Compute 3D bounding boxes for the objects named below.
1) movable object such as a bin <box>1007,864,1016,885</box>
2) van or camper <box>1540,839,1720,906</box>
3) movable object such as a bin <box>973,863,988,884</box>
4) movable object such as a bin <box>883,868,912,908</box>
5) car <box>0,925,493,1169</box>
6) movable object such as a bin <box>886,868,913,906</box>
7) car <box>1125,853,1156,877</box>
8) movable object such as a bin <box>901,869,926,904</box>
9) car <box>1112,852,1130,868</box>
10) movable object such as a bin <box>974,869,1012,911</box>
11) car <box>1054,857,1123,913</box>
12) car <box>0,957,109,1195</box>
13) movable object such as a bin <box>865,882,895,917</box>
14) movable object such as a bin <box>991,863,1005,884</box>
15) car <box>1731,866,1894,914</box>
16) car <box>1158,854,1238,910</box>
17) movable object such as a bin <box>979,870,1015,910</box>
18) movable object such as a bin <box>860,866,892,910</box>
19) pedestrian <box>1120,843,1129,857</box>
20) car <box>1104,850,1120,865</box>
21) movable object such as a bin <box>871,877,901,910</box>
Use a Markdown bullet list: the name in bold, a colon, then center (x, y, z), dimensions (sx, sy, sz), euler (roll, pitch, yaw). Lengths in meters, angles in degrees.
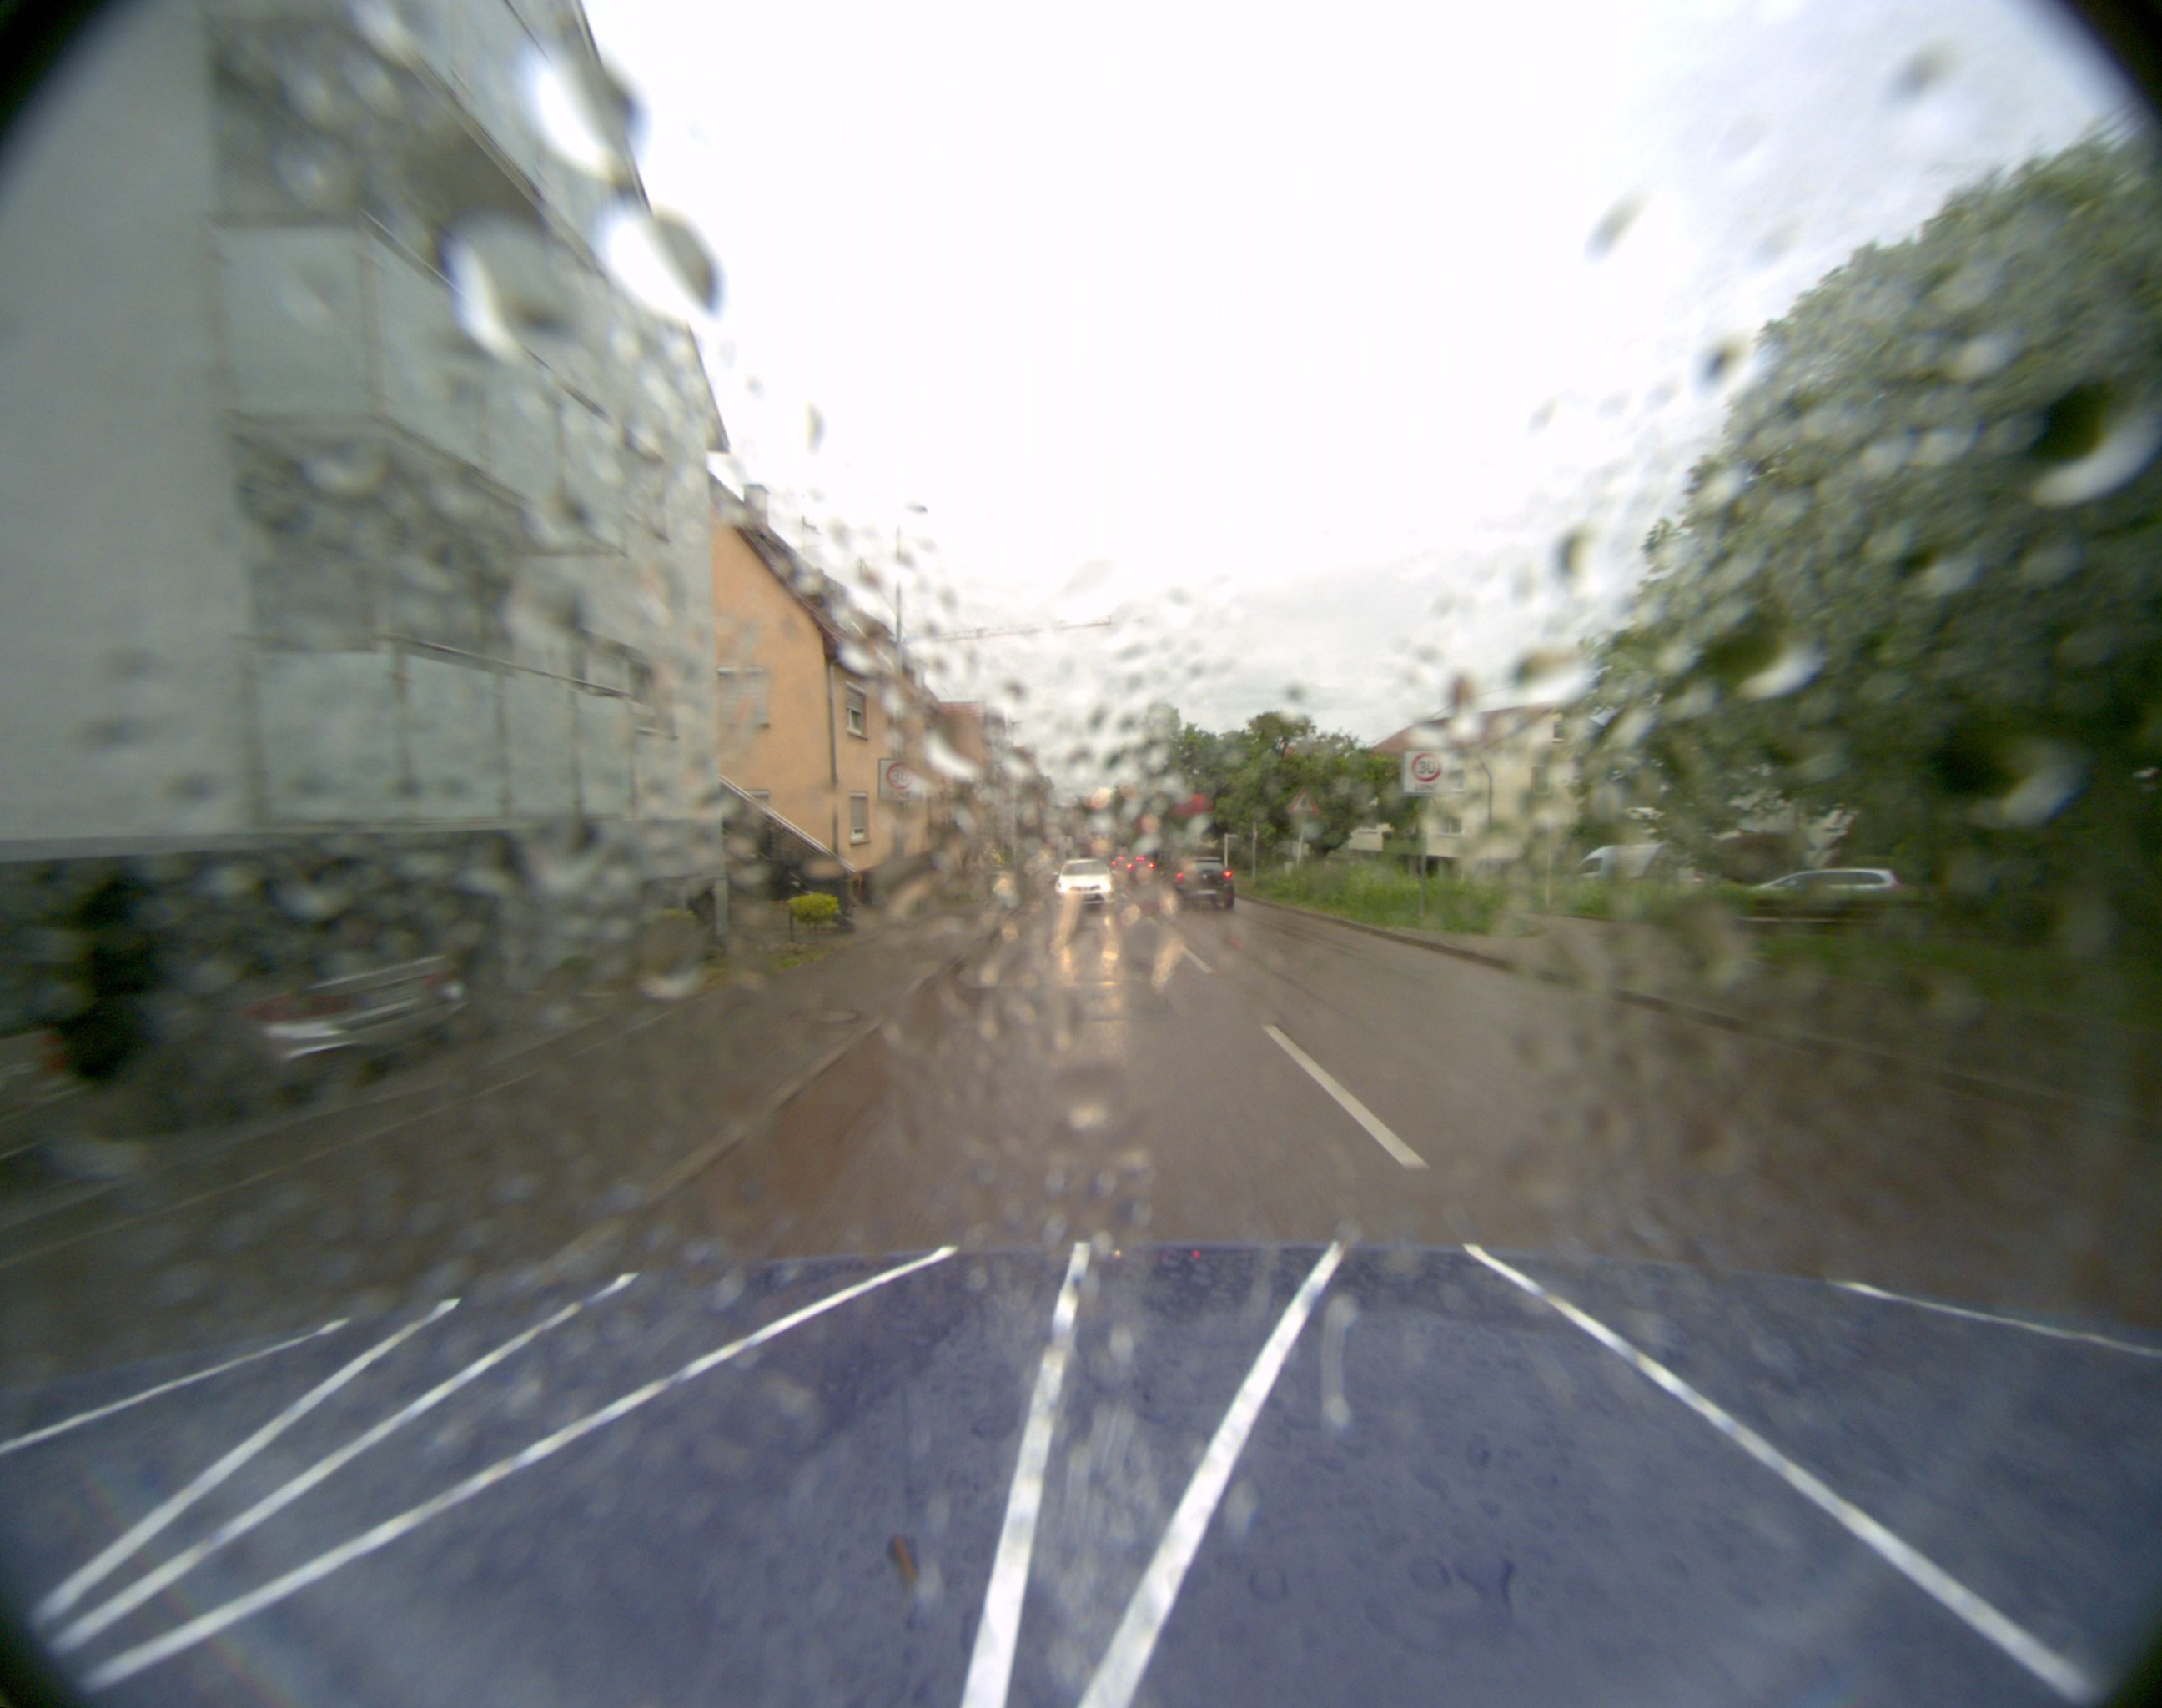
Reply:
- **movable object such as a bin**: center (-3.507, 1.022, 38.430), dimensions (0.380, 1.012, 0.487), euler (-2, 1, 1)
- **van or camper**: center (23.219, 0.735, 32.492), dimensions (1.643, 2.542, 6.051), euler (-4, 1, -30)
- **movable object such as a bin**: center (-5.124, 0.992, 38.861), dimensions (0.611, 0.961, 0.792), euler (5, 0, -2)
- **movable object such as a bin**: center (-5.302, 0.974, 21.952), dimensions (0.662, 1.087, 0.545), euler (3, 1, -2)
- **car**: center (-7.816, 1.484, 6.259), dimensions (4.480, 1.436, 1.754), euler (-1, 4, 0)
- **movable object such as a bin**: center (-5.389, 0.974, 22.607), dimensions (0.646, 1.087, 0.545), euler (3, 1, -2)
- **car**: center (3.668, 0.654, 47.672), dimensions (1.723, 1.421, 3.845), euler (-1, 0, 2)
- **movable object such as a bin**: center (-5.404, 1.042, 24.563), dimensions (0.662, 1.087, 0.655), euler (2, 1, -2)
- **car**: center (3.892, 0.568, 74.106), dimensions (1.564, 1.446, 4.084), euler (-2, 0, 0)
- **movable object such as a bin**: center (-2.422, 0.988, 21.014), dimensions (0.916, 1.097, 0.702), euler (-2, 1, 2)
- **car**: center (0.153, 0.884, 23.472), dimensions (1.859, 1.427, 4.015), euler (-3, 1, -2)
- **car**: center (-8.192, 1.362, 3.960), dimensions (3.983, 1.297, 1.681), euler (-2, 0, -1)
- **movable object such as a bin**: center (-5.433, 1.226, 20.535), dimensions (0.639, 0.890, 0.536), euler (-1, 0, 0)
- **movable object such as a bin**: center (-4.204, 0.985, 38.634), dimensions (0.611, 1.070, 0.792), euler (2, 1, -2)
- **car**: center (26.427, 1.252, 27.584), dimensions (1.563, 1.539, 4.029), euler (-2, 1, -35)
- **car**: center (3.269, 0.735, 21.844), dimensions (1.622, 1.432, 3.737), euler (-2, 0, -1)
- **movable object such as a bin**: center (-2.397, 1.027, 21.762), dimensions (0.916, 1.097, 0.702), euler (-2, 1, 2)
- **movable object such as a bin**: center (-5.348, 0.887, 19.837), dimensions (0.662, 1.087, 0.545), euler (3, 1, -2)
- **pedestrian**: center (5.616, -0.491, 99.094), dimensions (0.971, 1.820, 0.894), euler (-2, 1, -8)
- **car**: center (3.675, 0.373, 90.534), dimensions (1.755, 1.679, 4.375), euler (-2, 0, -1)
- **movable object such as a bin**: center (-5.422, 1.091, 21.145), dimensions (0.671, 0.890, 0.536), euler (-1, 0, 0)
